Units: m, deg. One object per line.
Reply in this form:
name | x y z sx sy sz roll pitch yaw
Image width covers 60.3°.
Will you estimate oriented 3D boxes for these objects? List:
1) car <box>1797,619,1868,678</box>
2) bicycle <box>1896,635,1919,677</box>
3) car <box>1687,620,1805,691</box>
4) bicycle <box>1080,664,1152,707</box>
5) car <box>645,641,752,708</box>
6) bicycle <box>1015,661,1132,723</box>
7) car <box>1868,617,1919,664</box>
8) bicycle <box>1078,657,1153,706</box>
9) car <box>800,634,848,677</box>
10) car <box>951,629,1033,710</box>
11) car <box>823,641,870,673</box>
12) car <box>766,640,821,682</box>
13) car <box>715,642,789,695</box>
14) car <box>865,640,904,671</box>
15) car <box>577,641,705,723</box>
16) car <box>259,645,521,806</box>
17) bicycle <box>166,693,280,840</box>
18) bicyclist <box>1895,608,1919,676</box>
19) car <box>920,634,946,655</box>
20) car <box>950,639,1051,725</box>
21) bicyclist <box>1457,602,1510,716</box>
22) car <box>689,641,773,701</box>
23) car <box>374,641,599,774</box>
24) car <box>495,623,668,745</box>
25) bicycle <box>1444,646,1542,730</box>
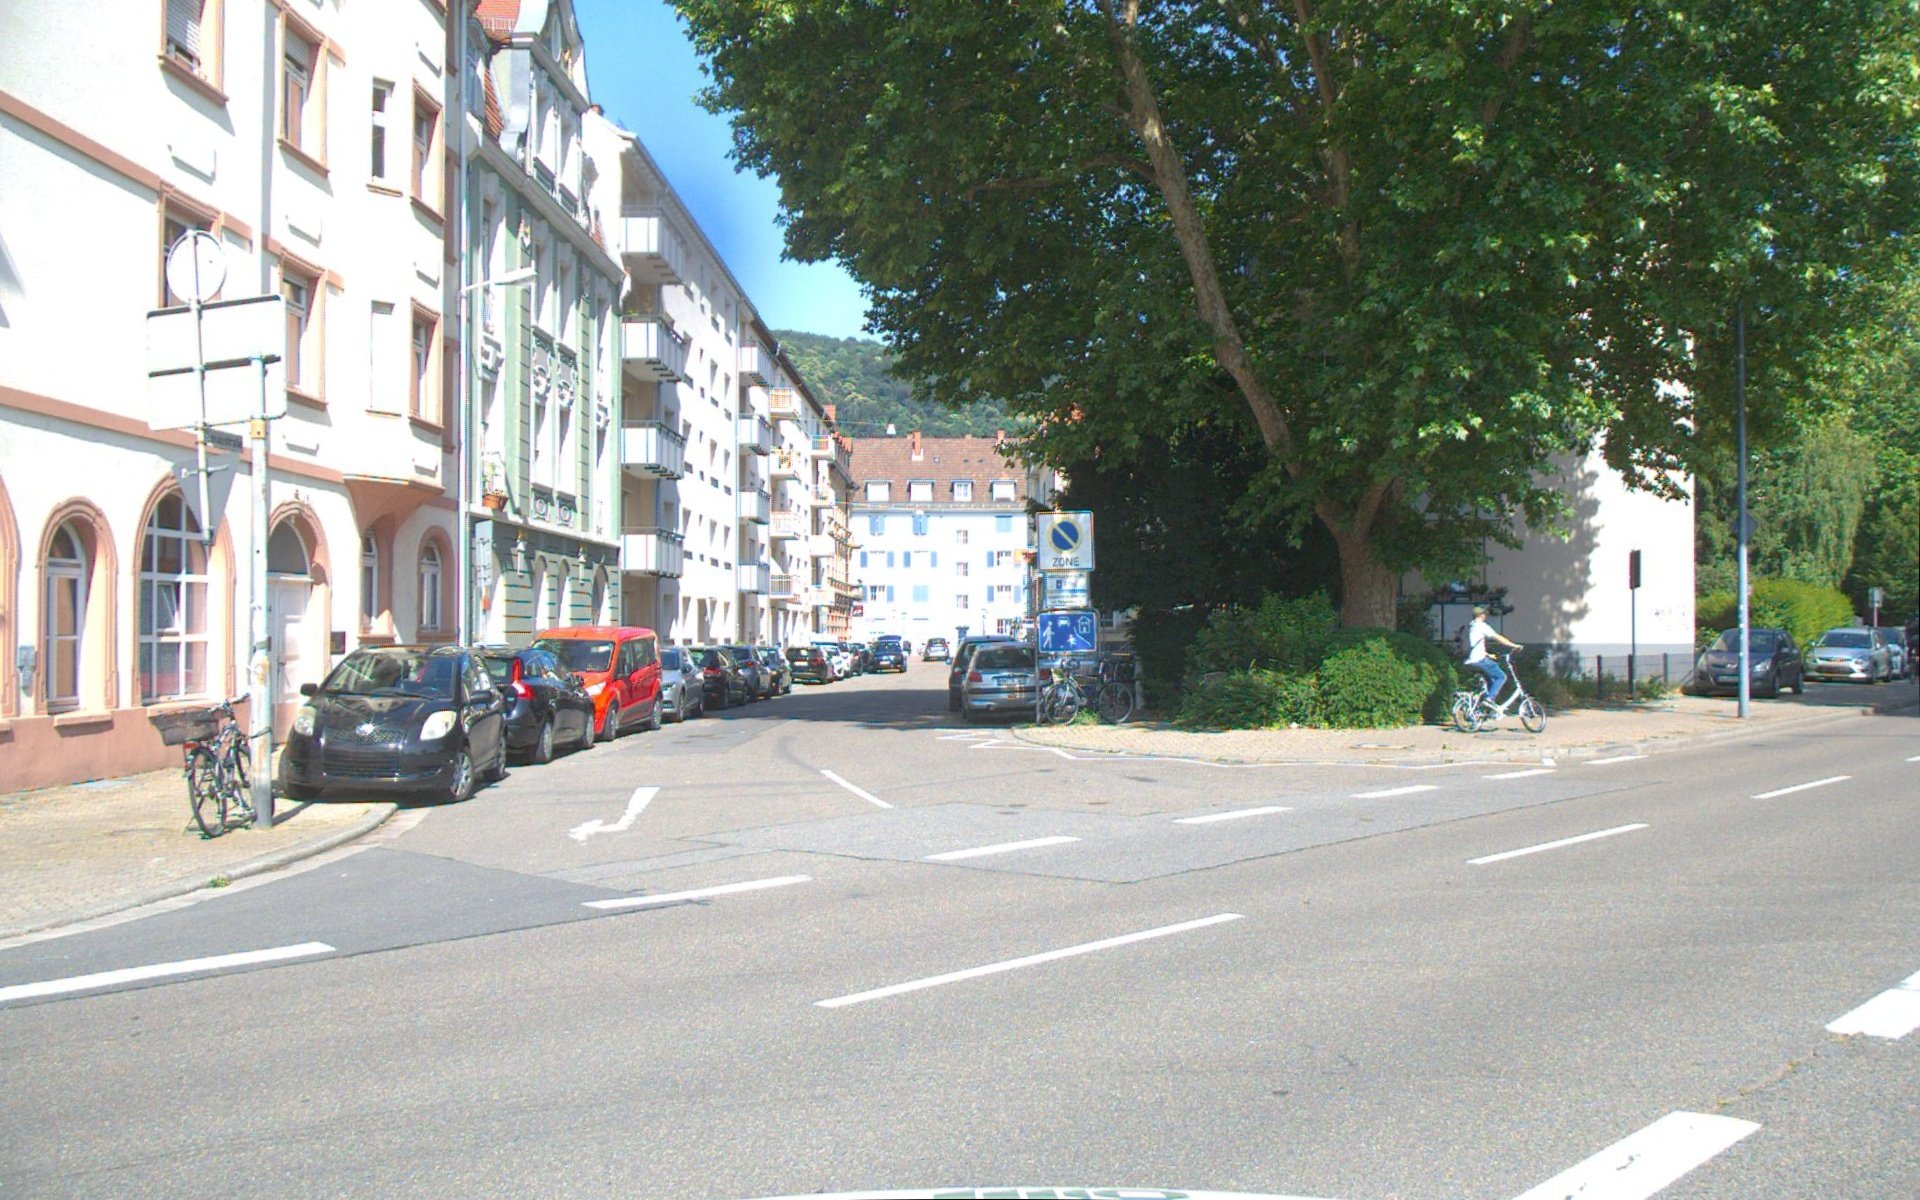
car | 24.931 1.373 47.198 1.611 1.602 3.991 -1 -1 30
bicycle | 26.973 1.578 46.979 0.647 1.142 1.799 -1 -1 30
car | 17.996 1.237 37.793 1.758 1.539 3.878 -1 -1 36
bicycle | 3.280 1.792 34.767 1.471 0.848 0.384 1 0 -1
car | -6.266 1.765 40.068 1.824 1.512 4.001 0 -1 2
bicycle | 1.915 1.553 28.125 1.855 1.001 0.972 0 -1 -4
car | 35.207 1.520 62.126 1.737 1.709 3.990 -1 -1 31
bicycle | 3.357 1.759 35.765 1.538 1.011 0.457 1 0 -1
car | -5.763 2.322 70.373 1.825 1.752 3.861 0 -1 -2
car | 0.721 1.492 36.412 1.712 1.686 3.780 0 -1 2
car | -5.484 2.744 80.631 1.952 1.504 4.000 0 -1 1
car | -6.355 2.313 63.522 1.825 1.512 3.861 0 -1 -2
car | -6.228 2.034 49.943 1.825 1.512 3.998 0 -1 -2
car | -3.858 2.827 84.862 1.712 1.486 3.780 0 -1 2
car | -6.298 1.594 33.089 1.825 1.512 3.999 0 -1 -1
car | -5.859 1.224 17.450 1.786 1.472 3.763 0 -1 -6
bicycle | -6.043 1.329 13.637 0.614 1.052 1.874 0 -1 -17
bicyclist | 27.046 1.187 47.142 0.634 1.927 0.837 -1 -2 31
car | -1.898 3.174 118.318 1.712 1.507 3.780 0 -1 2
car | 0.762 1.487 31.013 1.767 1.477 3.795 0 -1 2
bicyclist | 7.737 0.865 24.445 0.576 1.662 0.540 0 -1 -4
car | -6.175 1.898 44.972 1.825 1.512 3.998 0 -1 -2
car | -6.262 1.370 22.360 1.942 1.570 4.061 -1 -1 -2
car | -6.220 1.333 27.648 1.827 1.873 4.226 0 -1 1
bicycle | 7.873 1.291 24.448 1.257 1.209 0.553 0 -1 -4
